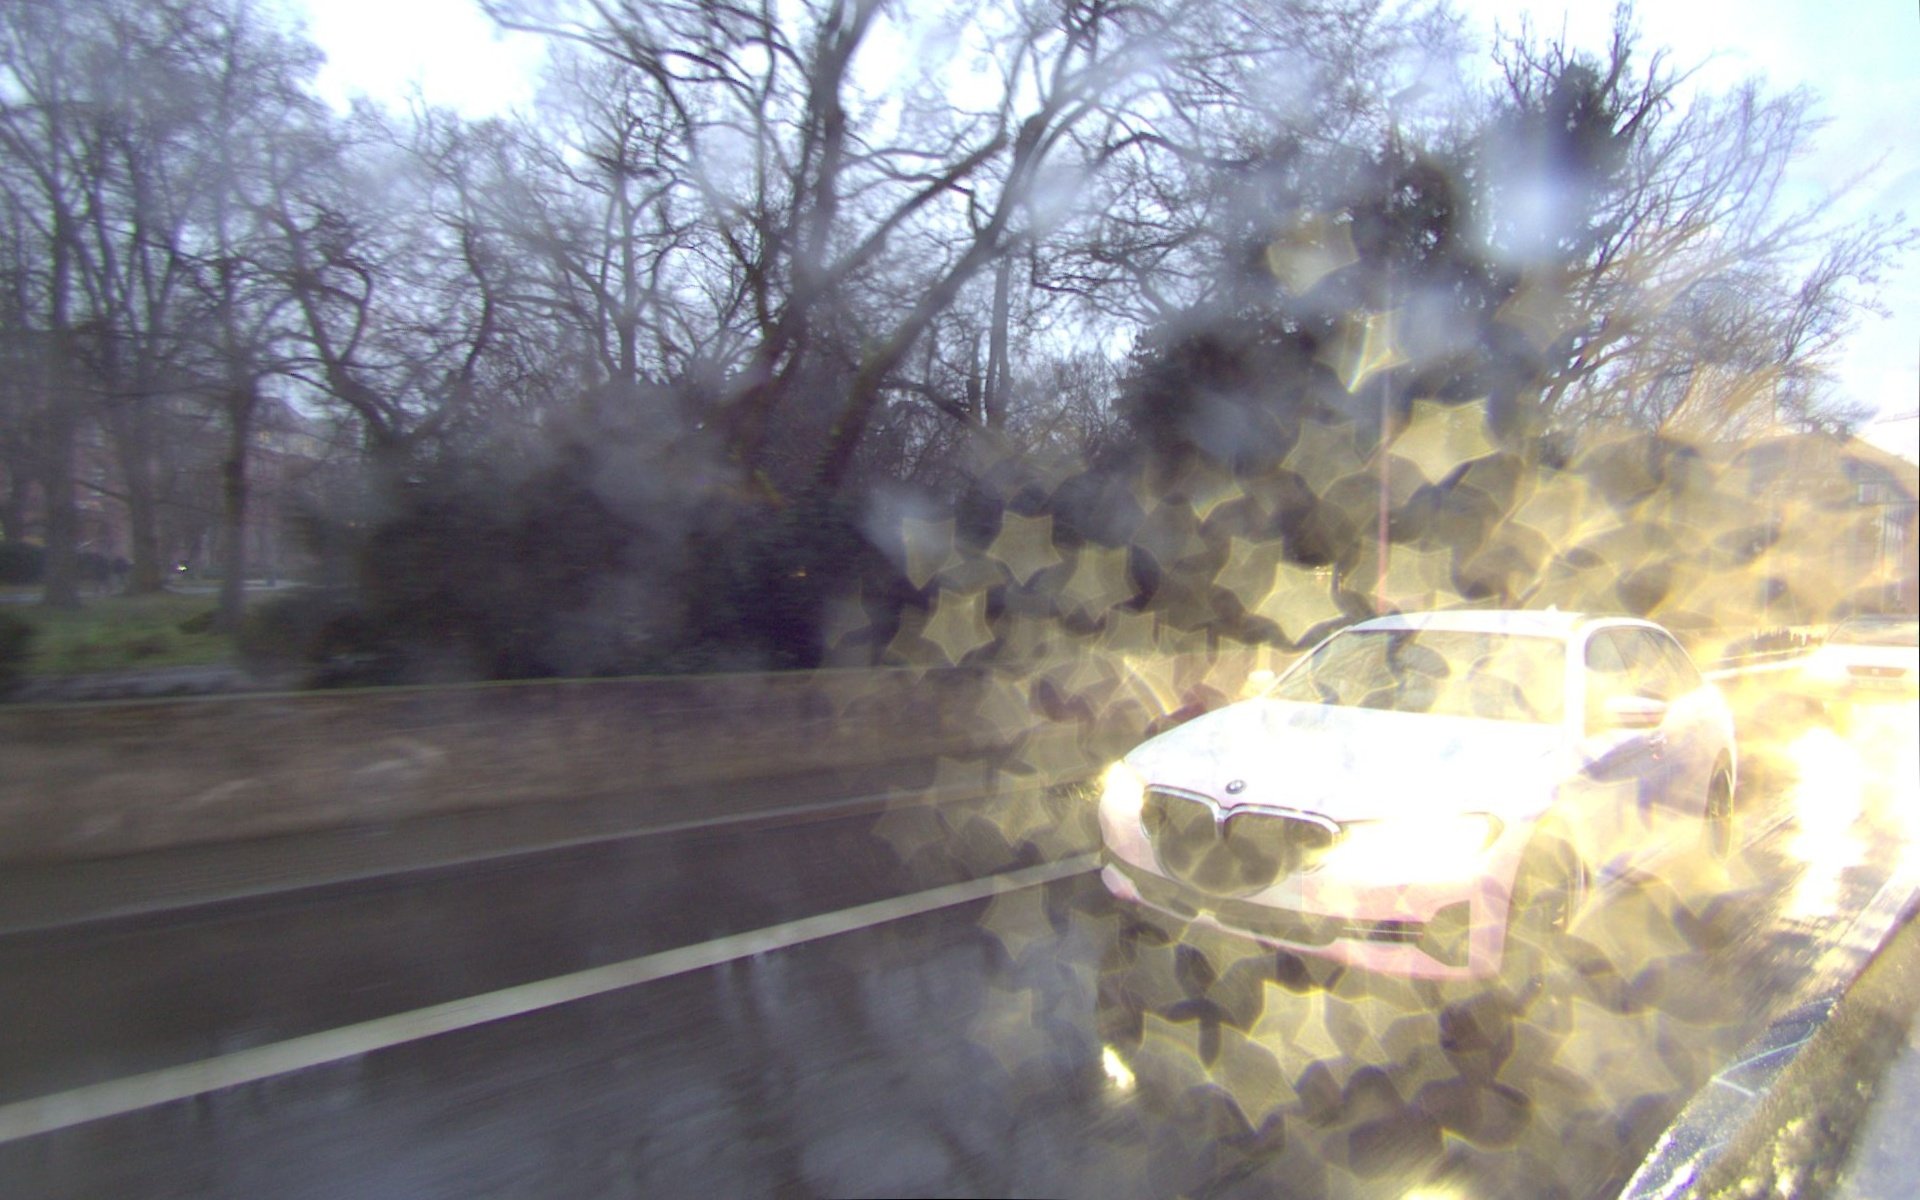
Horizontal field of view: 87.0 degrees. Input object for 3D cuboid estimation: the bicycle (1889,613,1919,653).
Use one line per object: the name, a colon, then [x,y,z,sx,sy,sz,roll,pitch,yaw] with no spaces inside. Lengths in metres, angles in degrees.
bicycle: [37.178,1.256,39.570,3.332,1.469,0.966,0,0,-43]

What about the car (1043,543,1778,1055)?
car: [2.783,0.591,5.462,4.855,1.575,1.865,0,2,-43]

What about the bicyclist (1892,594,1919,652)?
bicyclist: [37.089,0.874,39.480,0.919,2.251,0.966,0,-1,-42]

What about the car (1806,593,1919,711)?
car: [14.520,0.734,15.382,4.097,1.580,1.885,1,1,-41]
